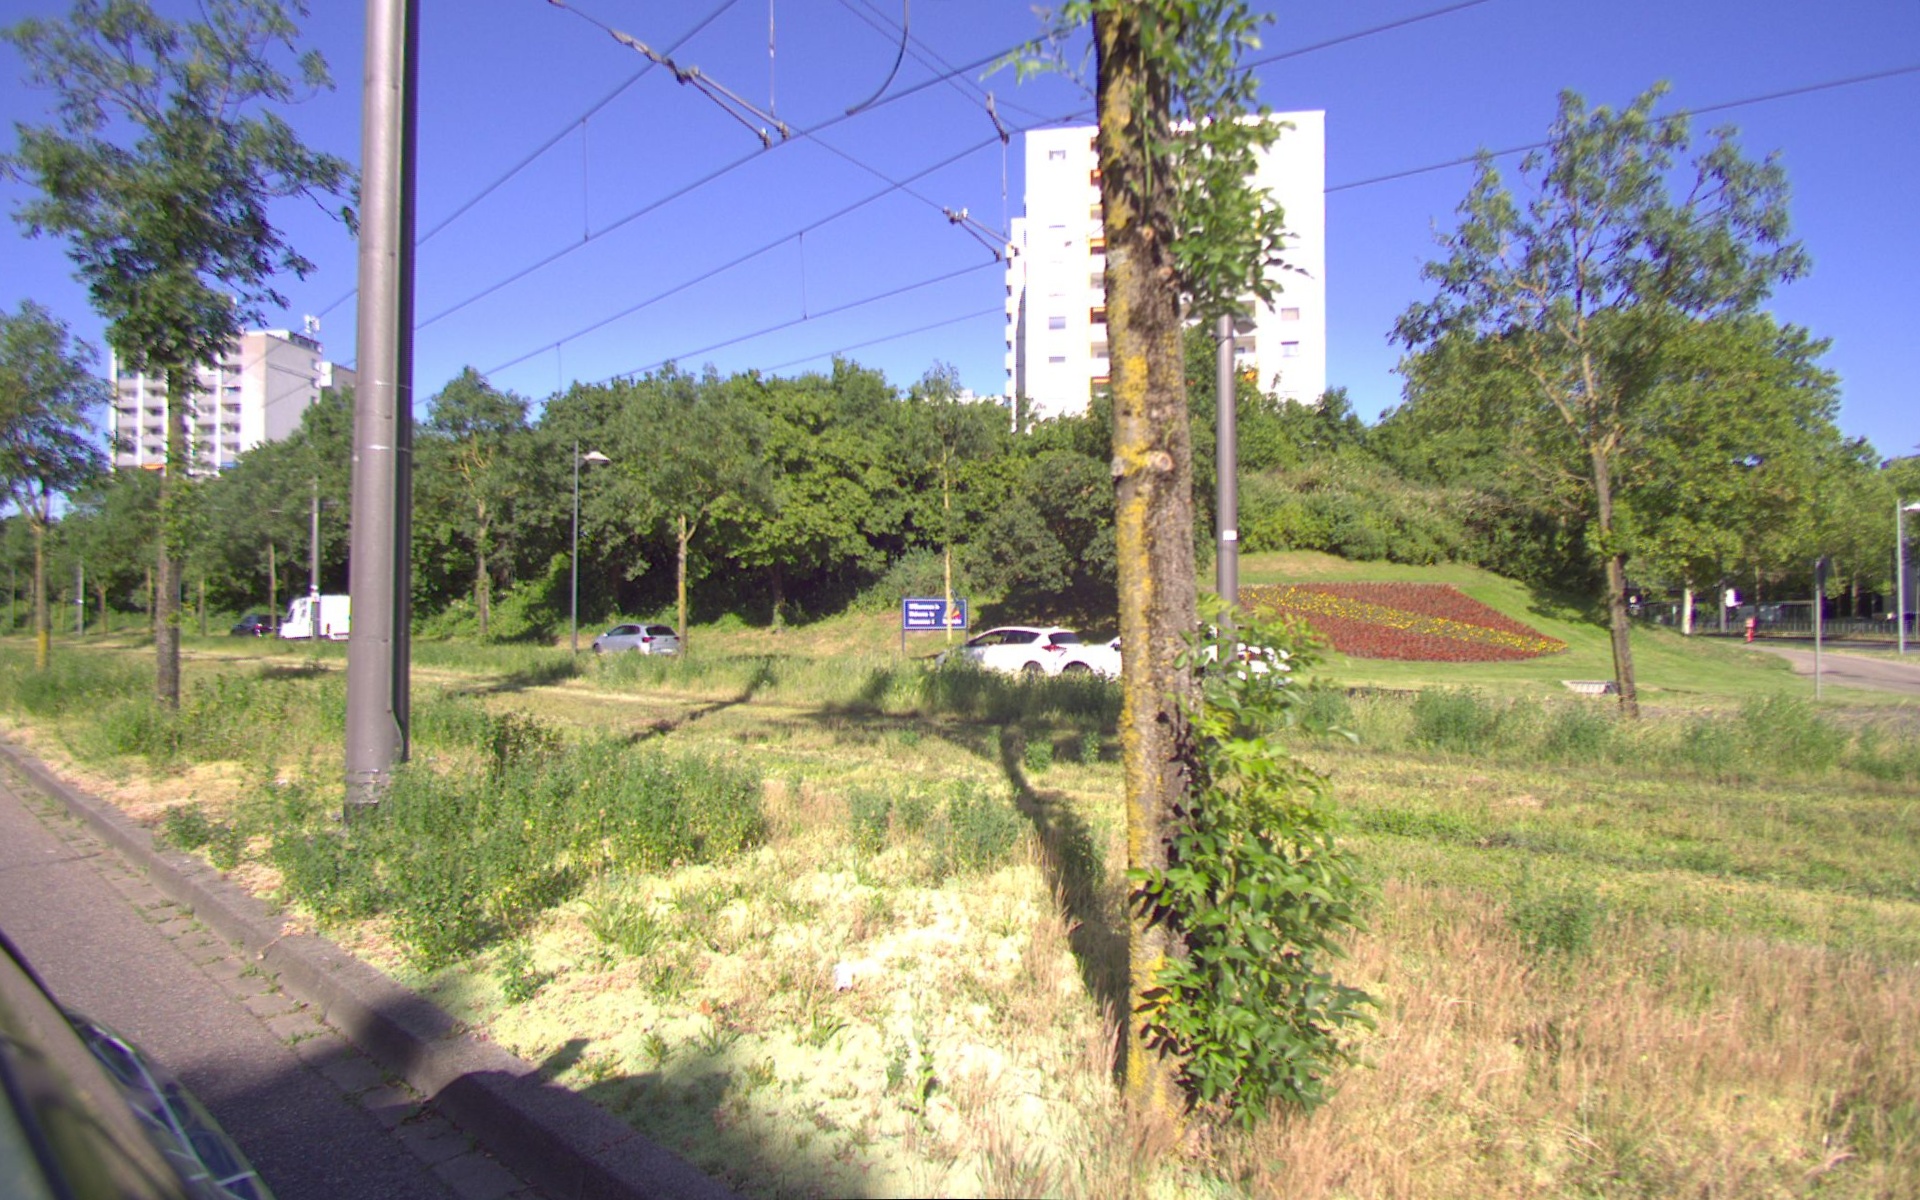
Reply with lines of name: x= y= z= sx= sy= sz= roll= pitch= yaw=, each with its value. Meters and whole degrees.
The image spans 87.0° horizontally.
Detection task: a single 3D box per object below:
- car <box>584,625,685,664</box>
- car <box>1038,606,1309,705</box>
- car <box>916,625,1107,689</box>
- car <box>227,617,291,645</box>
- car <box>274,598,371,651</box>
car: x=-11.947 y=1.601 z=37.024 sx=3.999 sy=1.302 sz=1.778 roll=-1 pitch=-1 yaw=42
car: x=3.903 y=0.948 z=18.977 sx=4.653 sy=1.634 sz=1.875 roll=-1 pitch=-1 yaw=40
car: x=1.211 y=1.342 z=25.150 sx=4.539 sy=1.408 sz=1.880 roll=-1 pitch=-1 yaw=40
car: x=-43.234 y=1.884 z=62.368 sx=5.270 sy=1.596 sz=1.973 roll=-1 pitch=-1 yaw=41
car: x=-30.680 y=1.127 z=48.588 sx=6.876 sy=2.387 sz=2.018 roll=-1 pitch=-1 yaw=41
